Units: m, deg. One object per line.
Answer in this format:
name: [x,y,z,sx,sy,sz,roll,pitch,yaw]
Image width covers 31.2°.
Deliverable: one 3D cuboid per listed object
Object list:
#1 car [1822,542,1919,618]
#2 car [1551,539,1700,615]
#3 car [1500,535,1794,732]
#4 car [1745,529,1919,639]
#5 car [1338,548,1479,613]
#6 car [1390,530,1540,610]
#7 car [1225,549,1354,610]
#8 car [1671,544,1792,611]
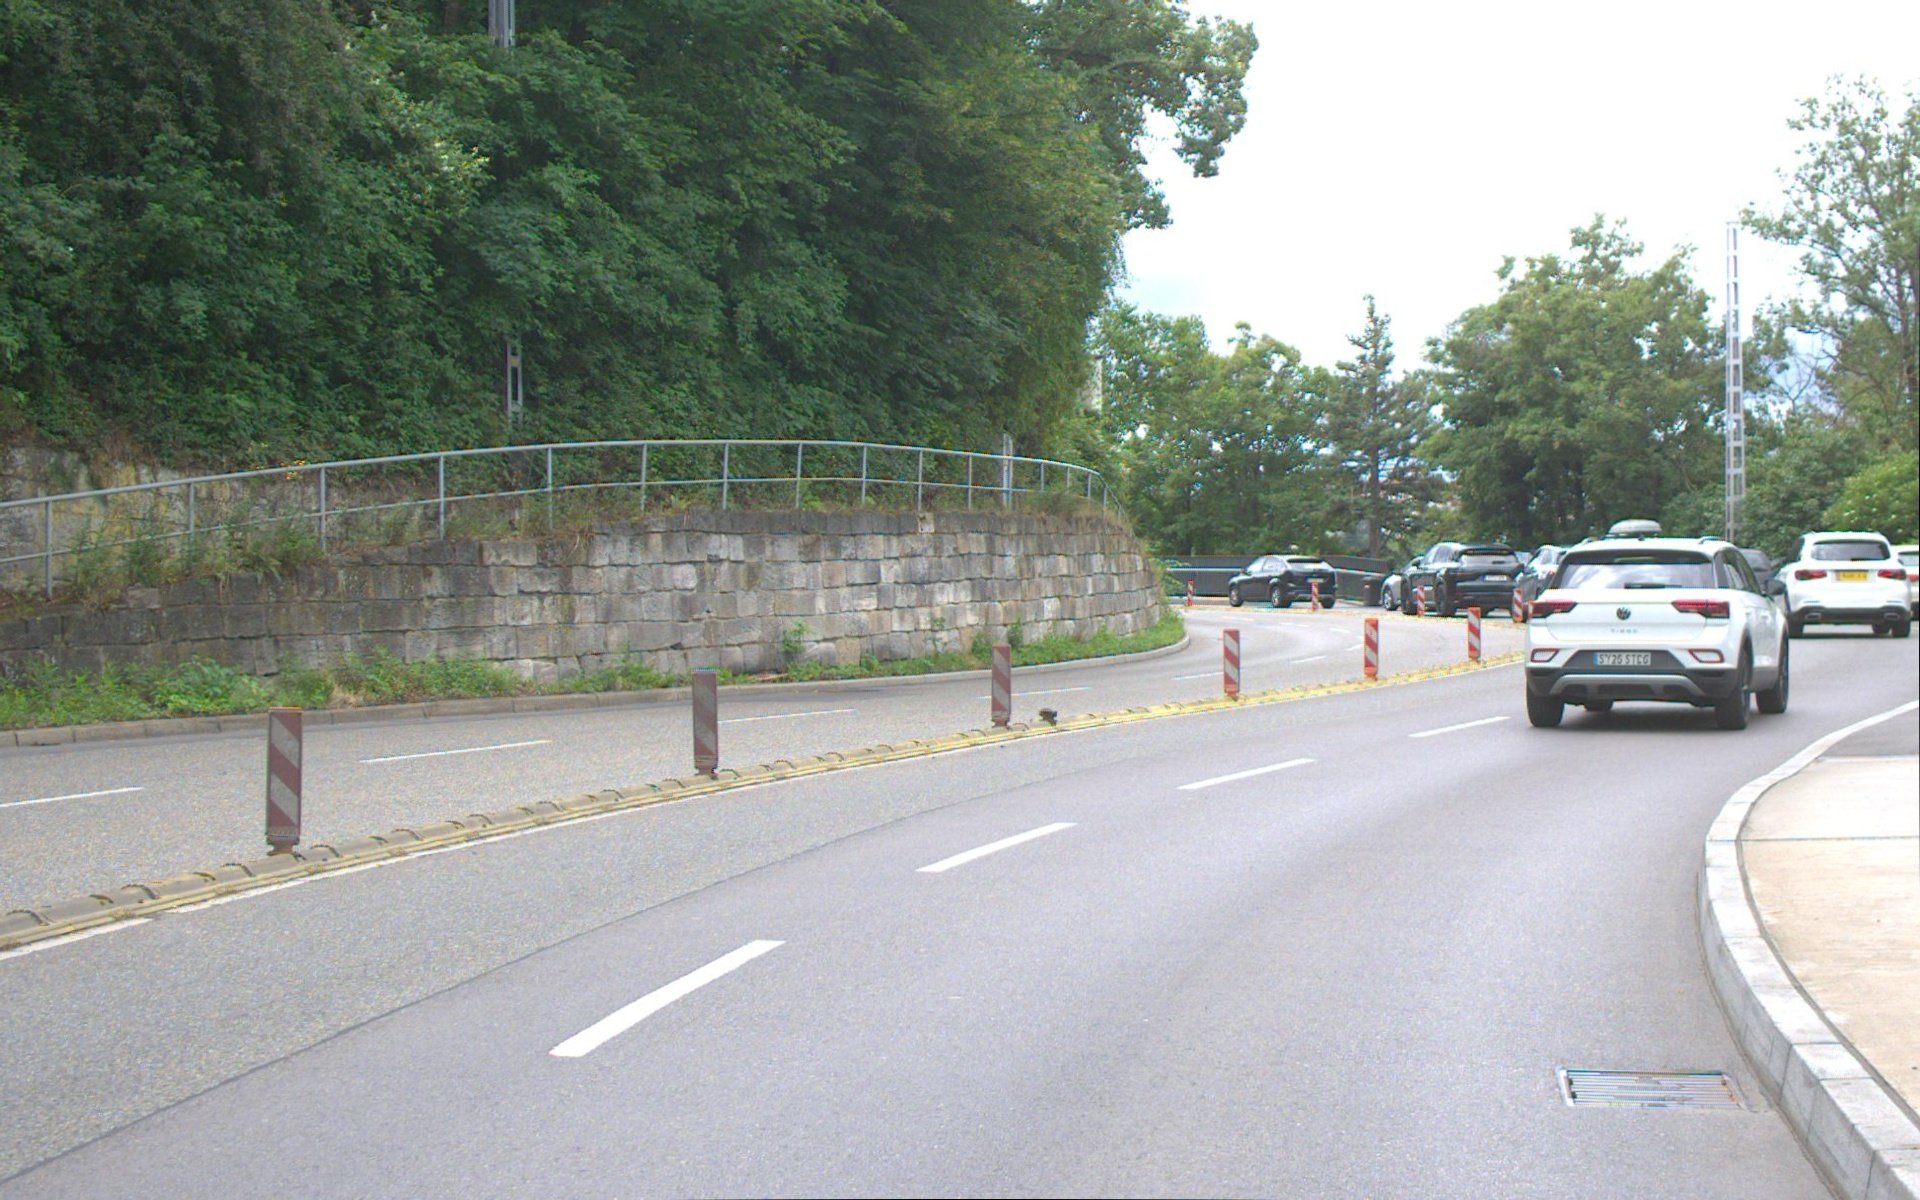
car: [18.247,-0.408,66.548,1.777,1.413,4.001,-1,0,-5]
car: [16.151,-0.569,83.682,1.798,1.766,4.609,1,0,-13]
car: [5.879,0.238,29.110,1.869,1.531,3.800,1,1,20]
car: [13.674,-0.234,53.868,1.994,1.581,3.999,2,0,3]
car: [11.308,-0.505,86.873,1.825,1.518,4.001,2,0,-20]
car: [11.320,-0.684,77.285,1.815,1.684,4.001,2,0,-15]
car: [9.206,-0.588,96.257,1.888,1.606,4.001,2,0,-22]
car: [17.366,-0.500,77.555,1.641,1.459,4.000,1,0,-2]
